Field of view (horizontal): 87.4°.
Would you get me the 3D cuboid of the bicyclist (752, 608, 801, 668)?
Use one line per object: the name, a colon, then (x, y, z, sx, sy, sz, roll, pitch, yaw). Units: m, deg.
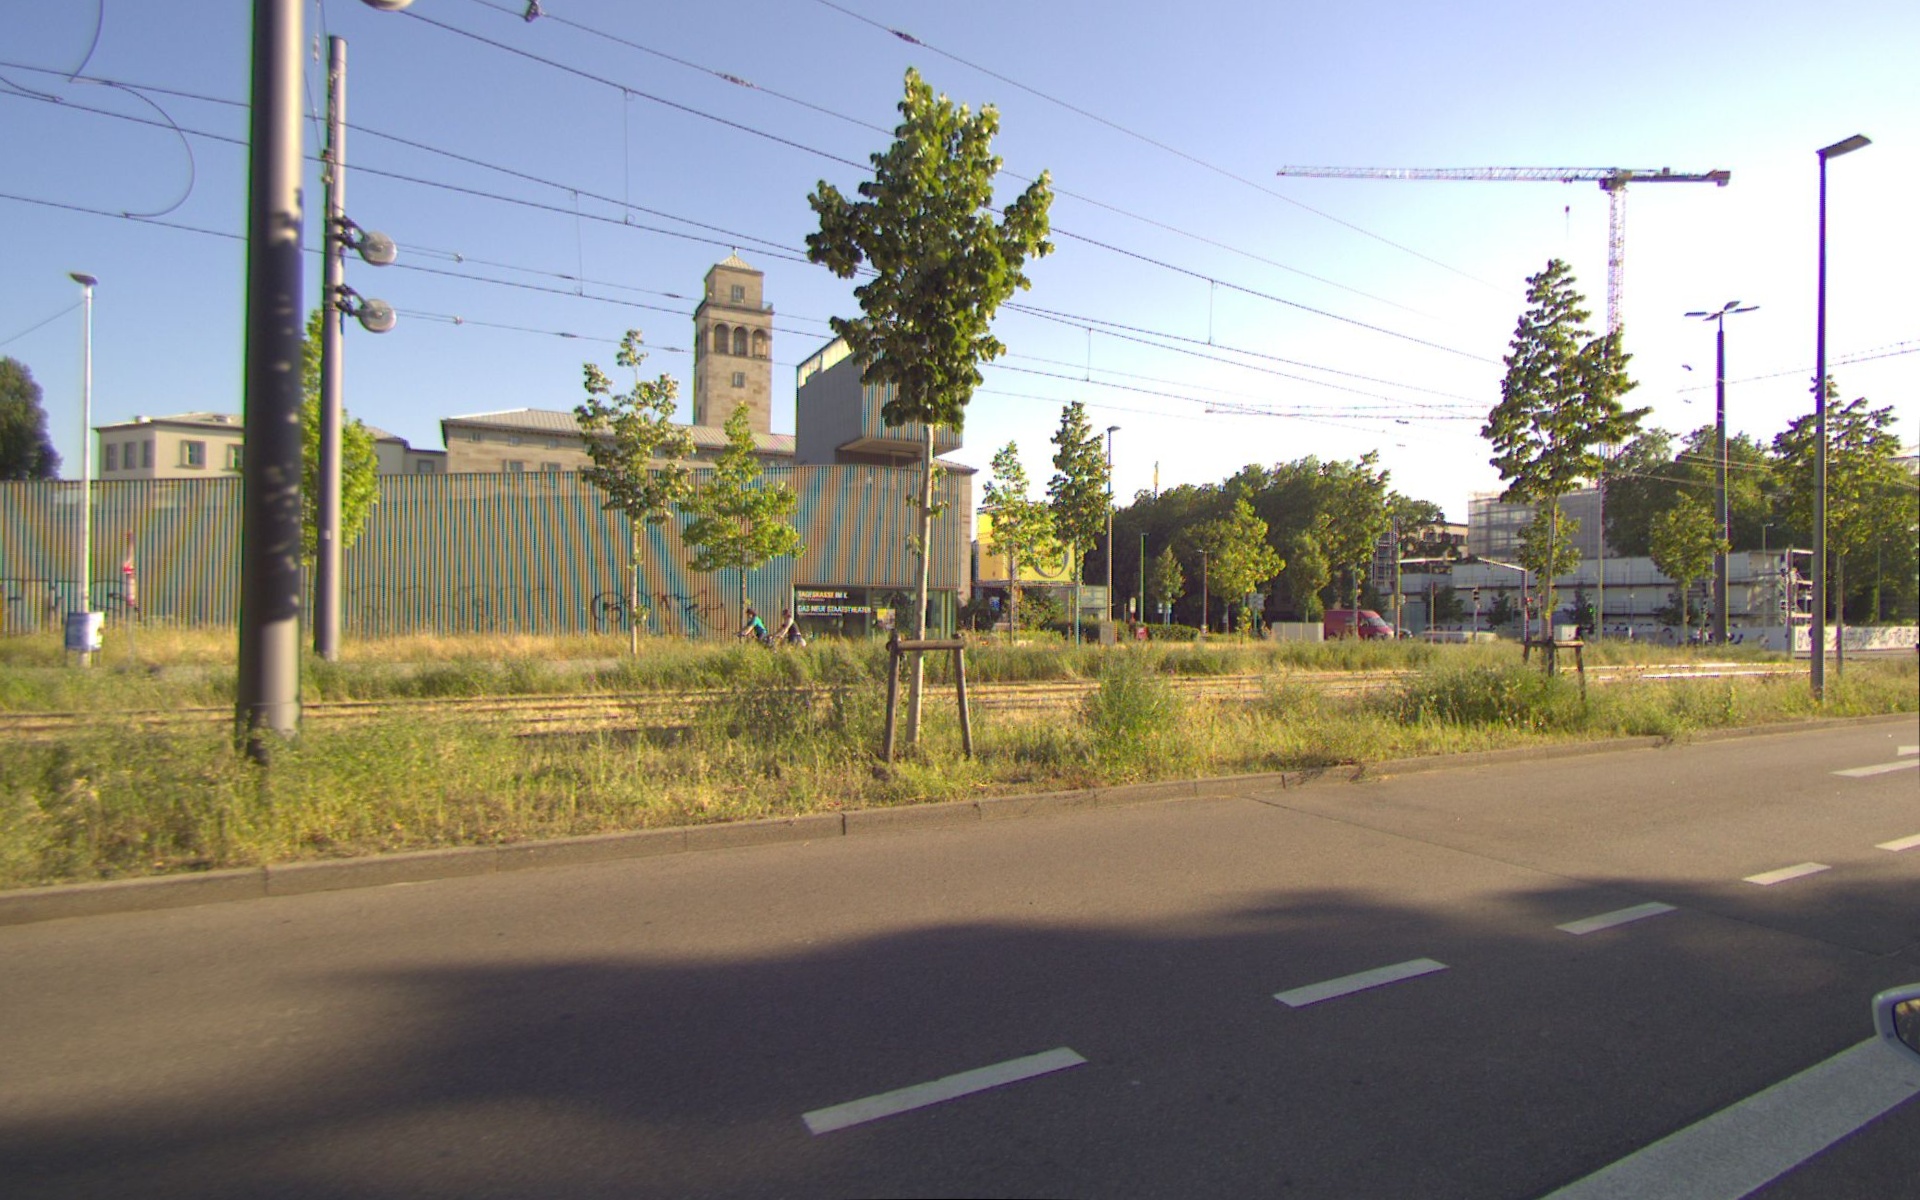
bicyclist: (-4.589, 0.936, 25.080, 1.063, 1.461, 0.581, 1, 0, -30)

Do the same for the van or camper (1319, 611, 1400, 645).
van or camper: (30.096, 2.059, 75.888, 2.128, 2.446, 5.637, 1, -1, -28)

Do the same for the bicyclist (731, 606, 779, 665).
bicyclist: (-5.225, 0.902, 25.607, 1.063, 1.461, 0.581, 1, 0, -30)

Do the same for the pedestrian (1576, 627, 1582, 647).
pedestrian: (44.995, 2.683, 73.014, 0.277, 1.484, 0.271, 1, 0, -38)

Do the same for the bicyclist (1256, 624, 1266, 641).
bicyclist: (21.504, 2.326, 71.771, 0.500, 1.157, 0.408, 1, -1, -36)

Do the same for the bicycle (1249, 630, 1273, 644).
bicycle: (21.500, 2.624, 71.759, 0.502, 0.984, 1.642, 1, -1, -36)

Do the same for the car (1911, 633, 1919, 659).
car: (69.453, 3.278, 71.239, 3.954, 1.800, 1.983, 1, -1, -31)

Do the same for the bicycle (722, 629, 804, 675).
bicycle: (-5.029, 1.313, 25.733, 1.964, 1.119, 0.581, 1, 0, -30)

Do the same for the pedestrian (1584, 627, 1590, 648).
pedestrian: (45.248, 2.697, 72.445, 0.313, 1.484, 0.271, 1, 0, -38)

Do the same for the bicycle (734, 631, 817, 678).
bicycle: (-4.601, 1.341, 25.085, 1.964, 1.119, 0.581, 1, 0, -30)
